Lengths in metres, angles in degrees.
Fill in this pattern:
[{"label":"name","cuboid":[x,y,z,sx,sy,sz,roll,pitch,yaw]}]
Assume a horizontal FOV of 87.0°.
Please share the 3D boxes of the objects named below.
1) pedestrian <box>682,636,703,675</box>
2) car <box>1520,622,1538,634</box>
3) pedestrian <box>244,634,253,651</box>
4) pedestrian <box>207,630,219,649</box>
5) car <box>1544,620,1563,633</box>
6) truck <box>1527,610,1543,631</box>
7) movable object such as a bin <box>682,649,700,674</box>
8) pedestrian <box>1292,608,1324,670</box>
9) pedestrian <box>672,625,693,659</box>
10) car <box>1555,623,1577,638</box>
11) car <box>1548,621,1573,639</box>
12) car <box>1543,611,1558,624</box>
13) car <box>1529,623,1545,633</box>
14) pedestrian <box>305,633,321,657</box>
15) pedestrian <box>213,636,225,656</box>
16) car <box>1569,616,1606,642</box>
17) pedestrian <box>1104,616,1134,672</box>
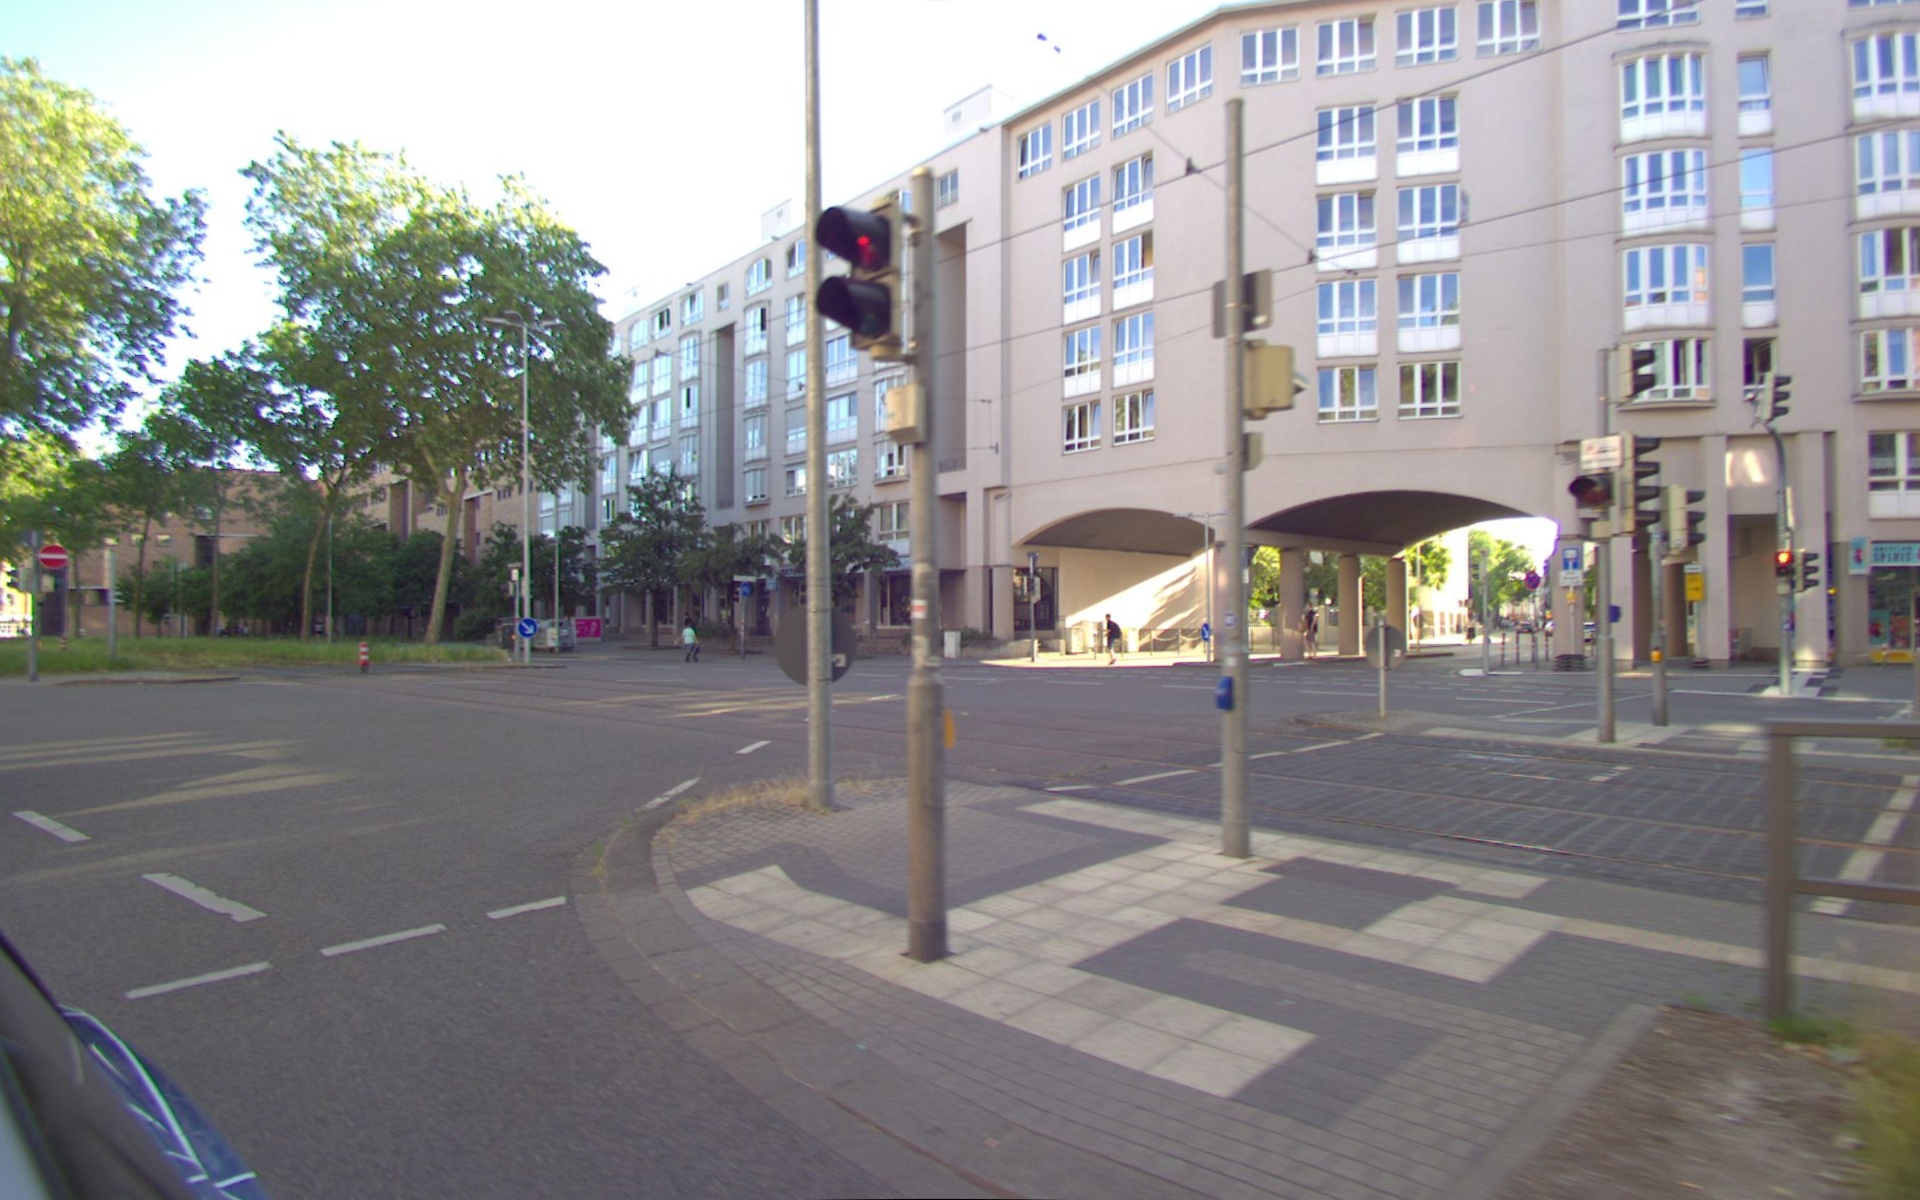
[{"label":"pedestrian","cuboid":[-10.640,2.191,40.291,0.530,1.515,0.616,-1,-1,19]},{"label":"car","cuboid":[69.482,3.418,123.534,1.680,1.405,3.614,-1,-1,32]},{"label":"pedestrian","cuboid":[-63.578,3.787,90.425,0.459,1.517,0.482,-1,-2,15]},{"label":"pedestrian","cuboid":[-66.448,3.508,90.017,0.755,1.629,0.658,-2,-2,36]},{"label":"car","cuboid":[65.734,2.884,112.125,1.680,1.405,3.614,-1,-1,32]},{"label":"truck","cuboid":[93.118,3.248,163.849,2.180,3.359,6.541,-1,-1,31]},{"label":"movable object such as a bin","cuboid":[-10.505,2.408,39.494,0.504,0.960,0.540,1,-2,-40]},{"label":"pedestrian","cuboid":[11.442,1.272,33.238,0.882,2.029,0.830,-1,-1,25]},{"label":"pedestrian","cuboid":[-13.912,2.088,50.711,0.698,1.651,0.789,0,-2,-42]},{"label":"car","cuboid":[57.152,2.845,95.401,1.680,1.405,3.614,-1,-1,32]},{"label":"car","cuboid":[50.142,2.478,84.446,1.680,1.405,3.614,-1,-1,32]},{"label":"car","cuboid":[84.570,2.501,144.870,1.811,1.854,3.958,-1,-1,31]},{"label":"car","cuboid":[79.128,3.819,138.759,1.680,1.405,3.614,-1,-1,32]},{"label":"pedestrian","cuboid":[-50.886,3.564,79.628,0.899,1.845,0.816,-2,-2,37]},{"label":"pedestrian","cuboid":[-65.080,3.999,88.859,0.795,1.735,0.658,-2,-2,36]},{"label":"car","cuboid":[43.888,2.024,70.724,1.895,1.742,3.610,-1,-1,36]},{"label":"pedestrian","cuboid":[5.478,1.515,34.793,0.749,1.883,0.849,-1,-2,29]}]
